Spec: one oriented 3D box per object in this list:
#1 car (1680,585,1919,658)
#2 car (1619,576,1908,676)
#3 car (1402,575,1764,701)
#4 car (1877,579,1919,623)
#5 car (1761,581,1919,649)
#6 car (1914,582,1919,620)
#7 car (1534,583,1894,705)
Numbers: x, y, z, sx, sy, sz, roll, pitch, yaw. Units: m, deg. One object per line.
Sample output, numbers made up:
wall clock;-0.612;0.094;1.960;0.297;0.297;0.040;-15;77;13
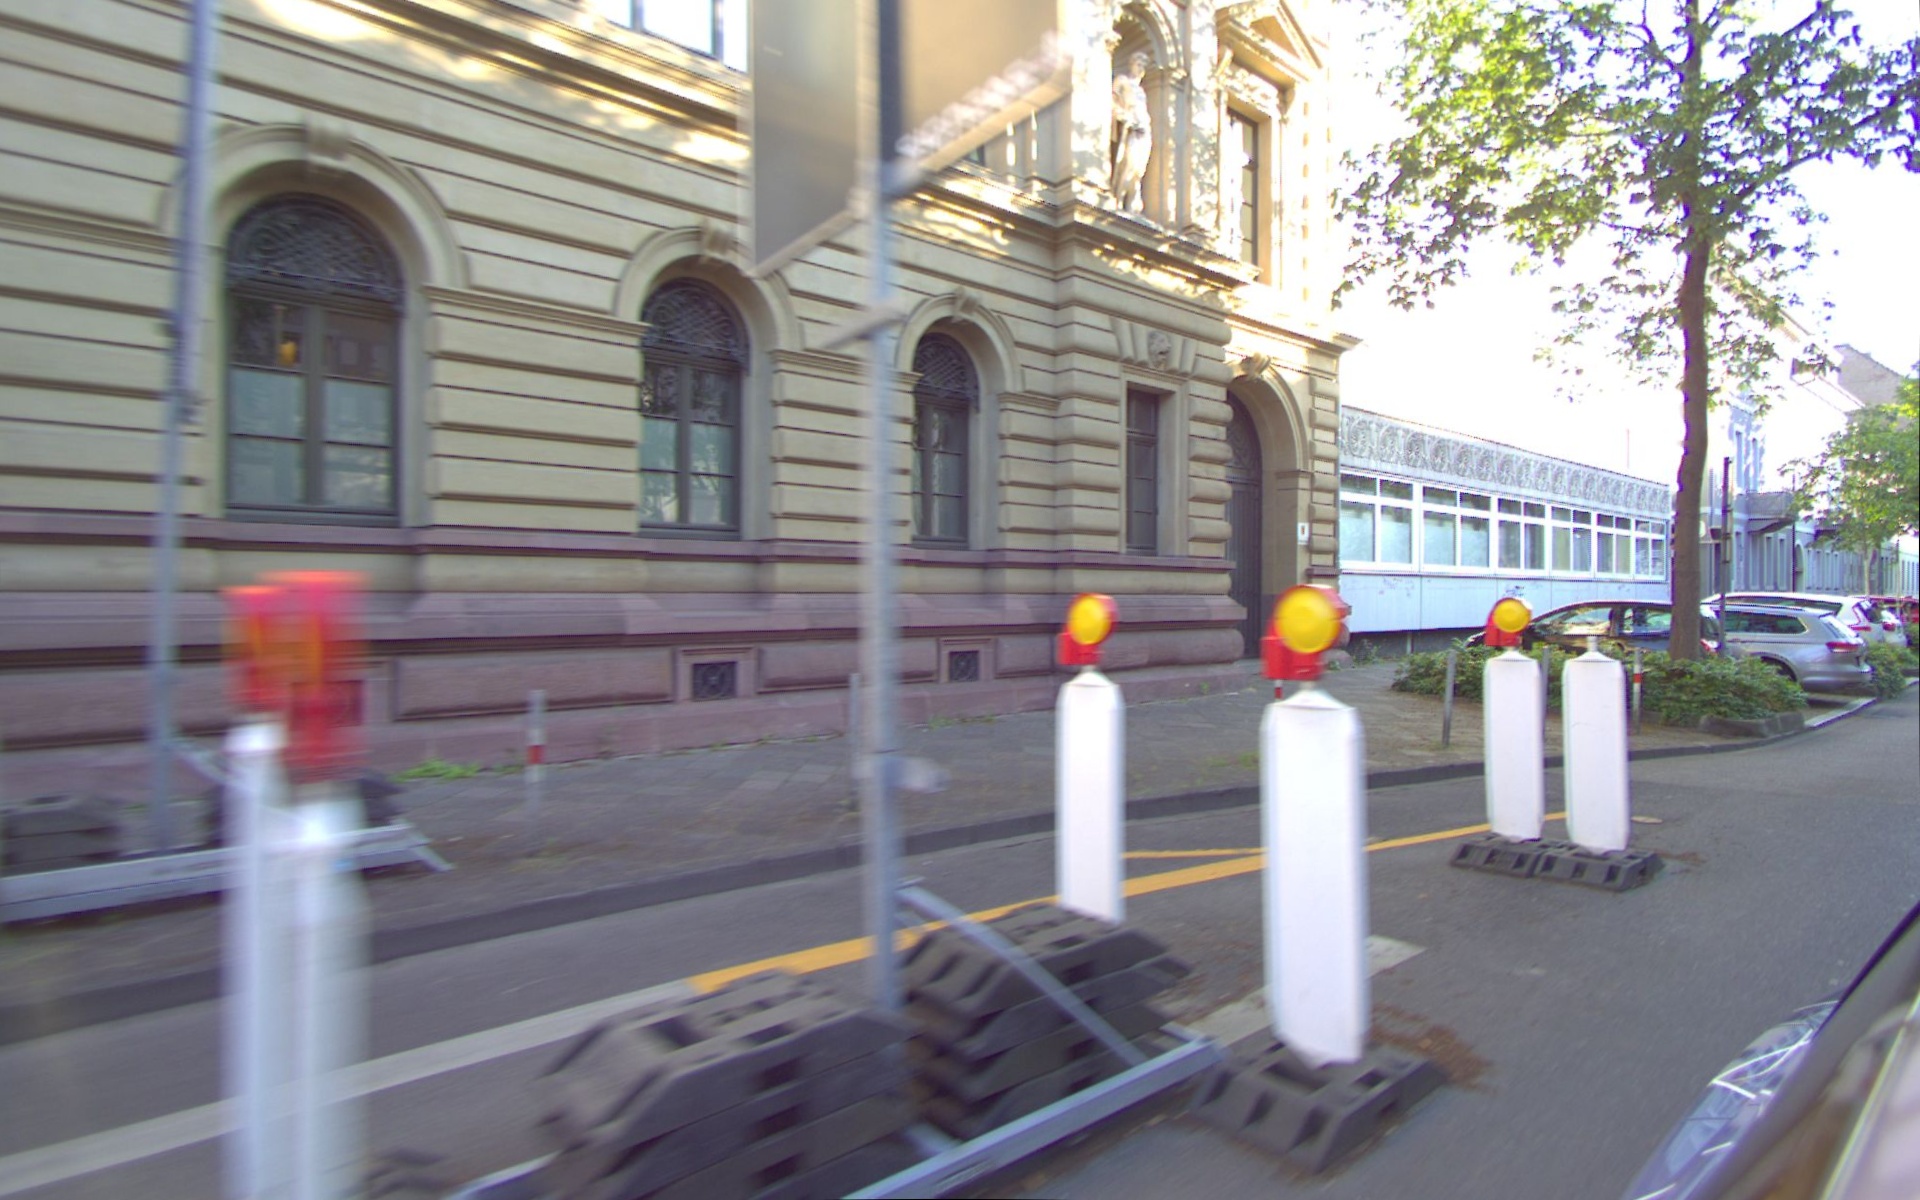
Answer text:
car;20.614;0.452;24.943;1.855;1.512;4.364;0;3;-42
car;16.445;0.432;20.873;2.019;1.662;4.364;0;3;-42
car;9.337;0.449;15.445;1.804;1.482;4.362;-1;4;-44
car;41.647;0.106;42.568;1.704;1.800;4.364;0;3;-42
car;24.800;0.398;27.611;1.704;1.644;4.364;0;3;-42
car;50.283;0.108;50.064;1.704;1.896;4.363;0;2;-42
car;11.964;0.585;16.329;1.643;1.513;4.367;0;3;-40
